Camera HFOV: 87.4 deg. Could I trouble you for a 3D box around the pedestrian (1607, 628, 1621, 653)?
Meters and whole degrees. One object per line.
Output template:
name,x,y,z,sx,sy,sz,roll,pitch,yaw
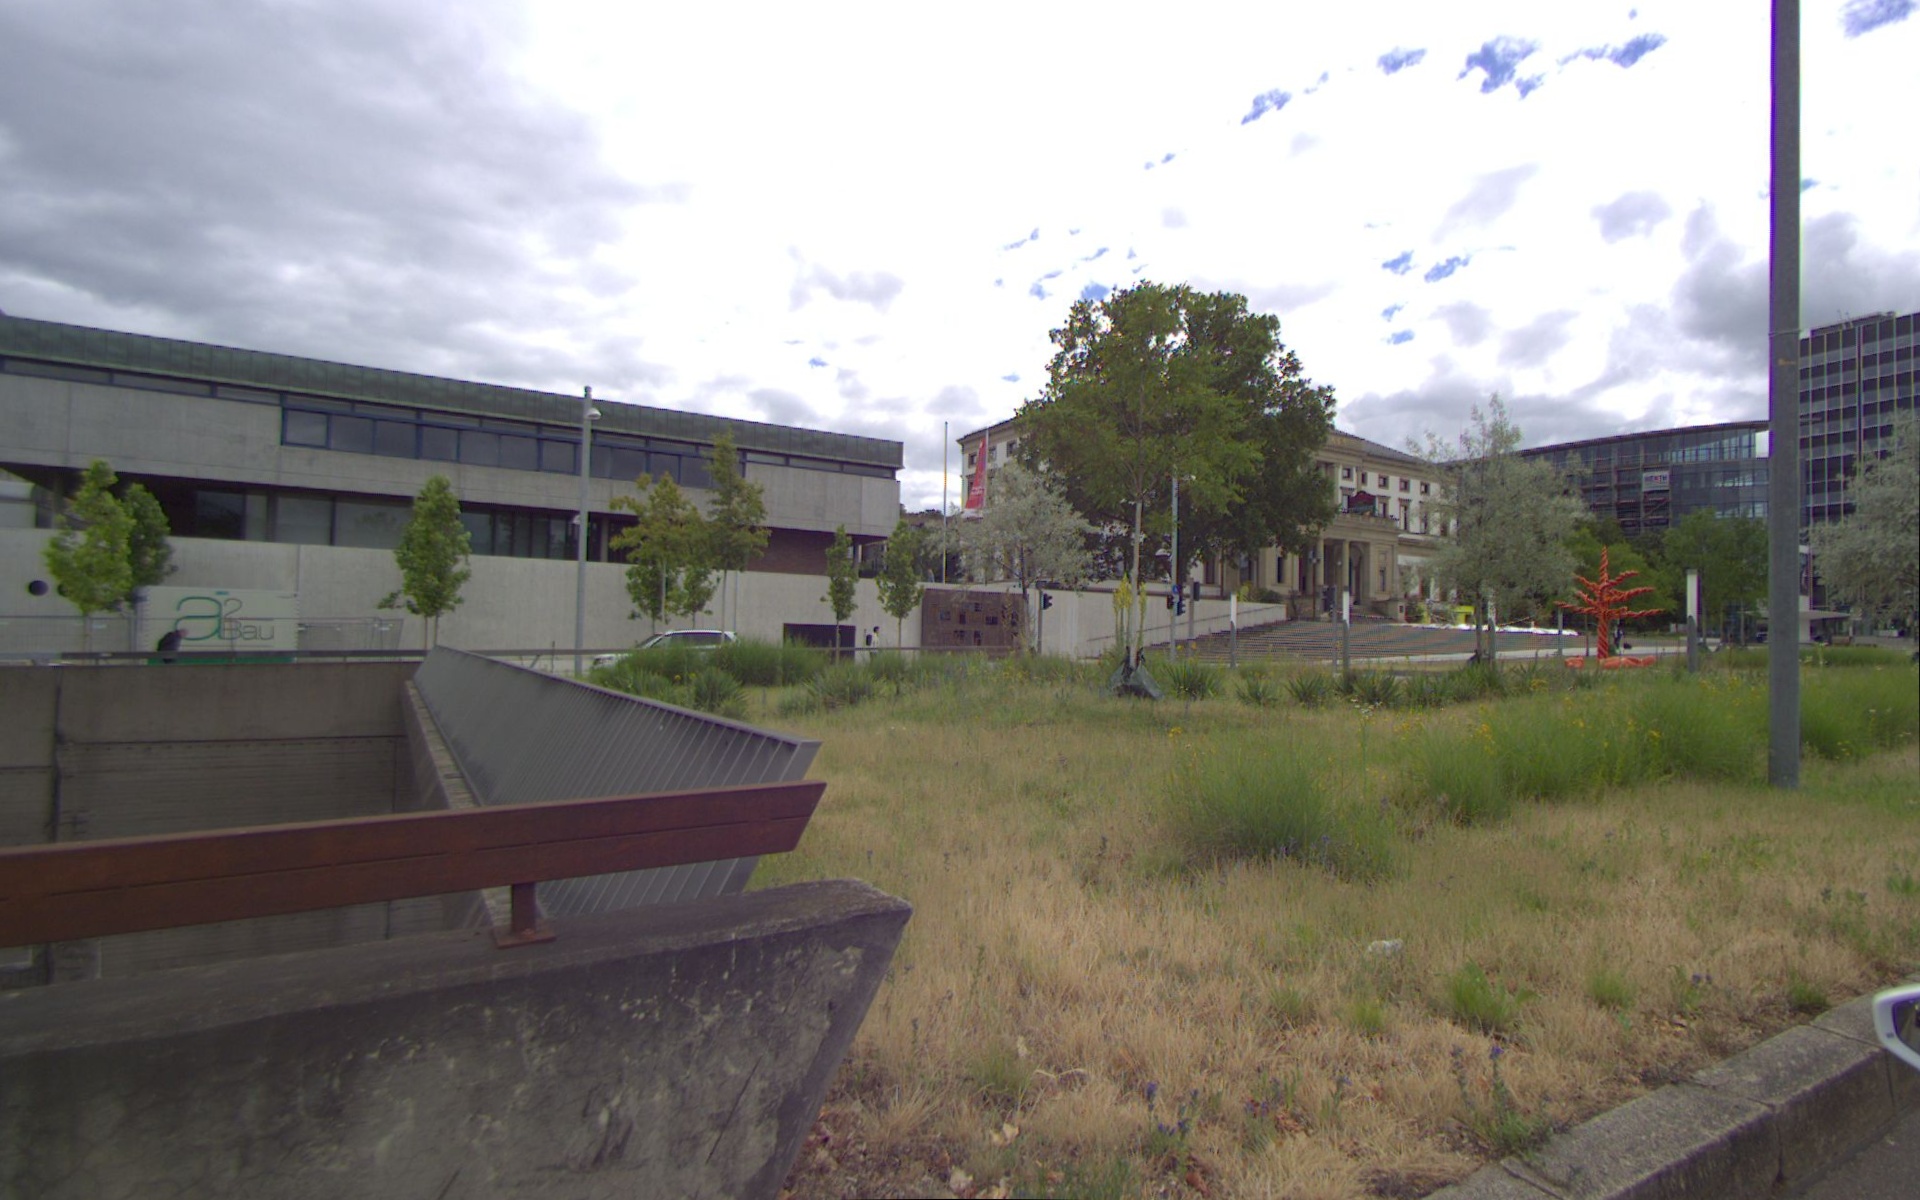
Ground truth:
pedestrian,44.281,2.735,68.017,0.643,1.671,0.521,1,0,-31

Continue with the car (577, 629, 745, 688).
car,-8.844,1.689,29.850,4.556,1.595,1.711,0,-1,-29

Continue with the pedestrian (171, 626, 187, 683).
pedestrian,-21.179,1.472,27.240,0.314,1.542,0.315,1,0,-36

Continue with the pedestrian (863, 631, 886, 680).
pedestrian,-3.099,1.988,36.215,0.656,1.757,0.537,1,-1,-30
